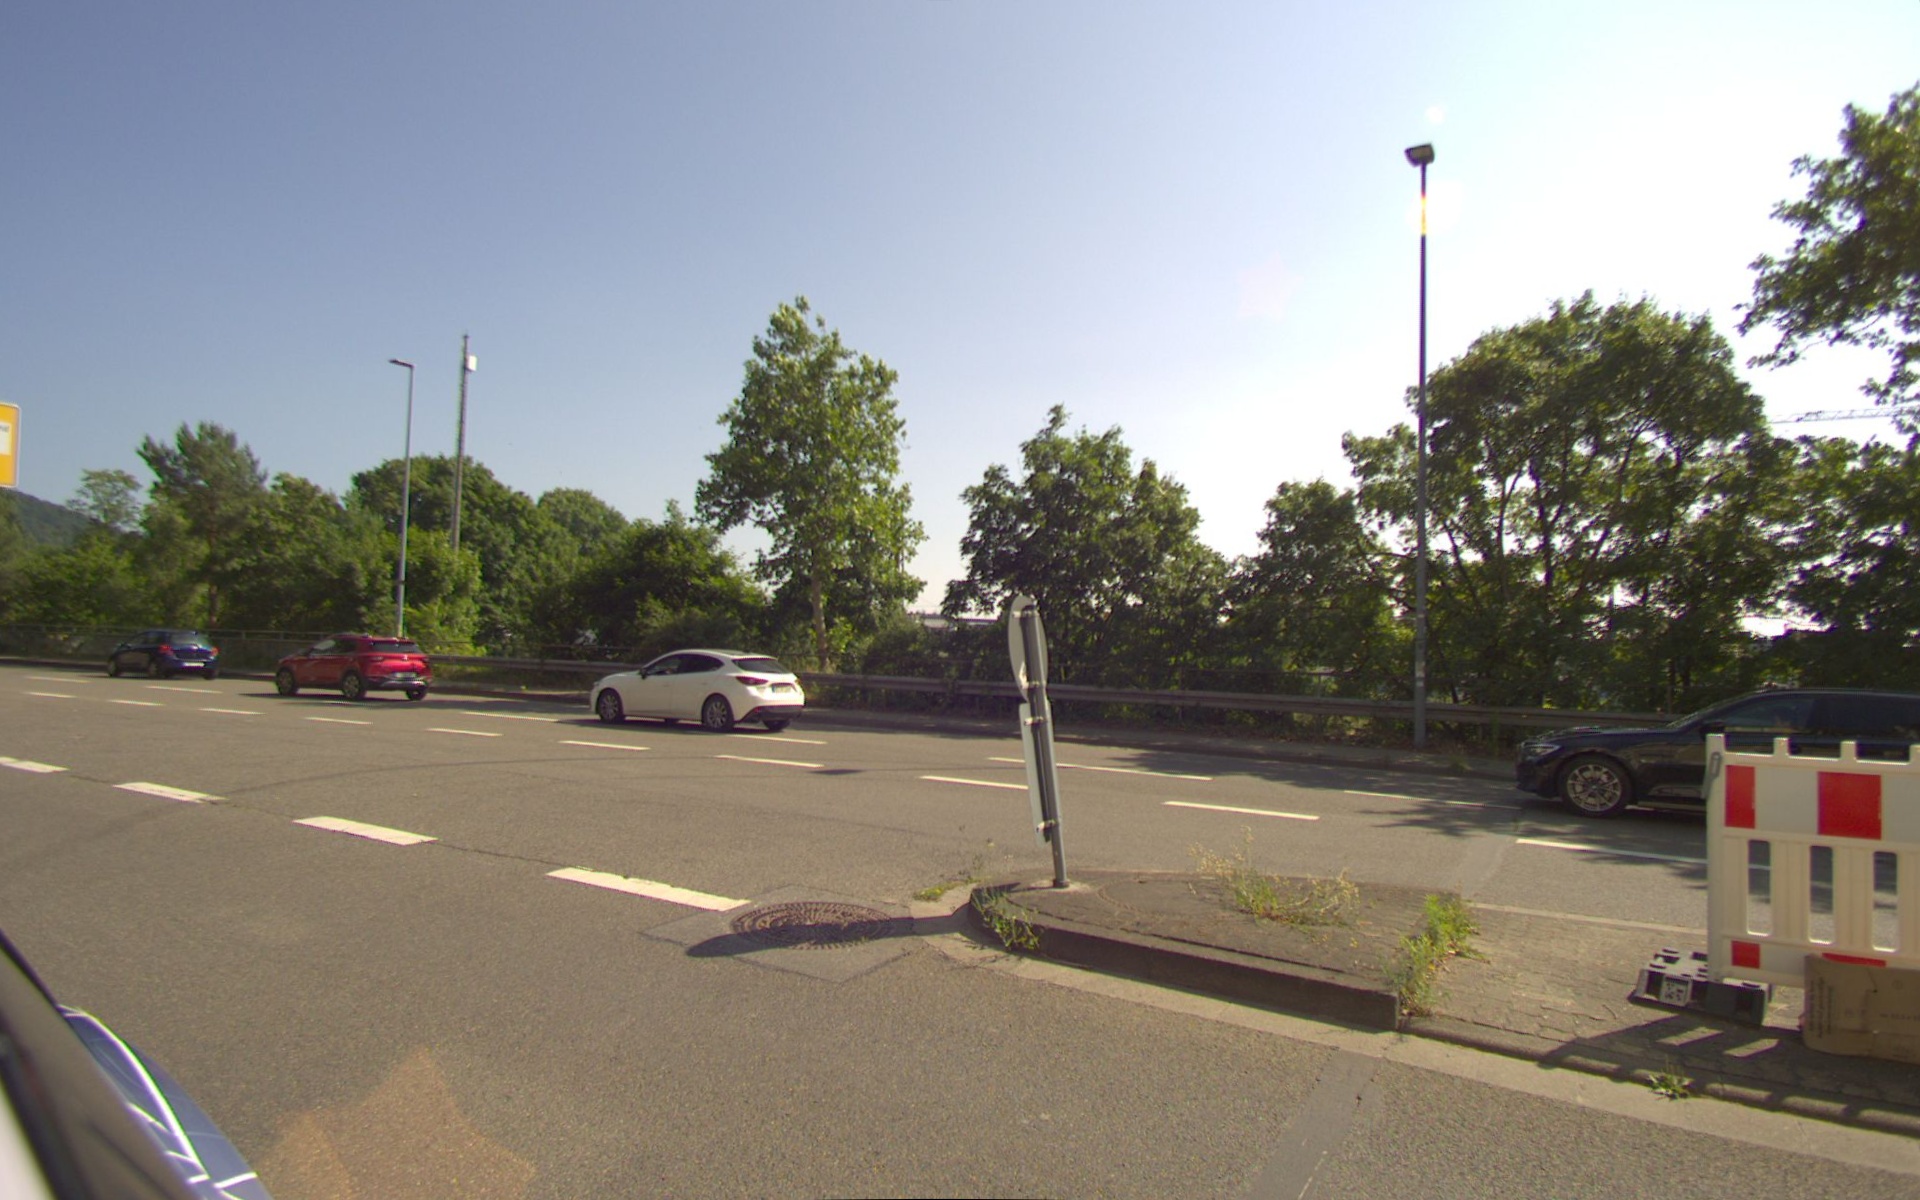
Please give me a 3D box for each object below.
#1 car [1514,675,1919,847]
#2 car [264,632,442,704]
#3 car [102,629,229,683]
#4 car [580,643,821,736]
[{"bbox_3d":[8.352,1.556,10.270,4.605,1.422,1.976,-1,-5,36],"label":"car"},{"bbox_3d":[-14.489,1.596,24.162,3.945,1.531,1.786,0,-4,27],"label":"car"},{"bbox_3d":[-24.617,1.719,31.348,3.631,1.512,1.631,0,-5,27],"label":"car"},{"bbox_3d":[-4.840,1.612,18.770,4.188,1.464,1.851,0,-5,30],"label":"car"}]
